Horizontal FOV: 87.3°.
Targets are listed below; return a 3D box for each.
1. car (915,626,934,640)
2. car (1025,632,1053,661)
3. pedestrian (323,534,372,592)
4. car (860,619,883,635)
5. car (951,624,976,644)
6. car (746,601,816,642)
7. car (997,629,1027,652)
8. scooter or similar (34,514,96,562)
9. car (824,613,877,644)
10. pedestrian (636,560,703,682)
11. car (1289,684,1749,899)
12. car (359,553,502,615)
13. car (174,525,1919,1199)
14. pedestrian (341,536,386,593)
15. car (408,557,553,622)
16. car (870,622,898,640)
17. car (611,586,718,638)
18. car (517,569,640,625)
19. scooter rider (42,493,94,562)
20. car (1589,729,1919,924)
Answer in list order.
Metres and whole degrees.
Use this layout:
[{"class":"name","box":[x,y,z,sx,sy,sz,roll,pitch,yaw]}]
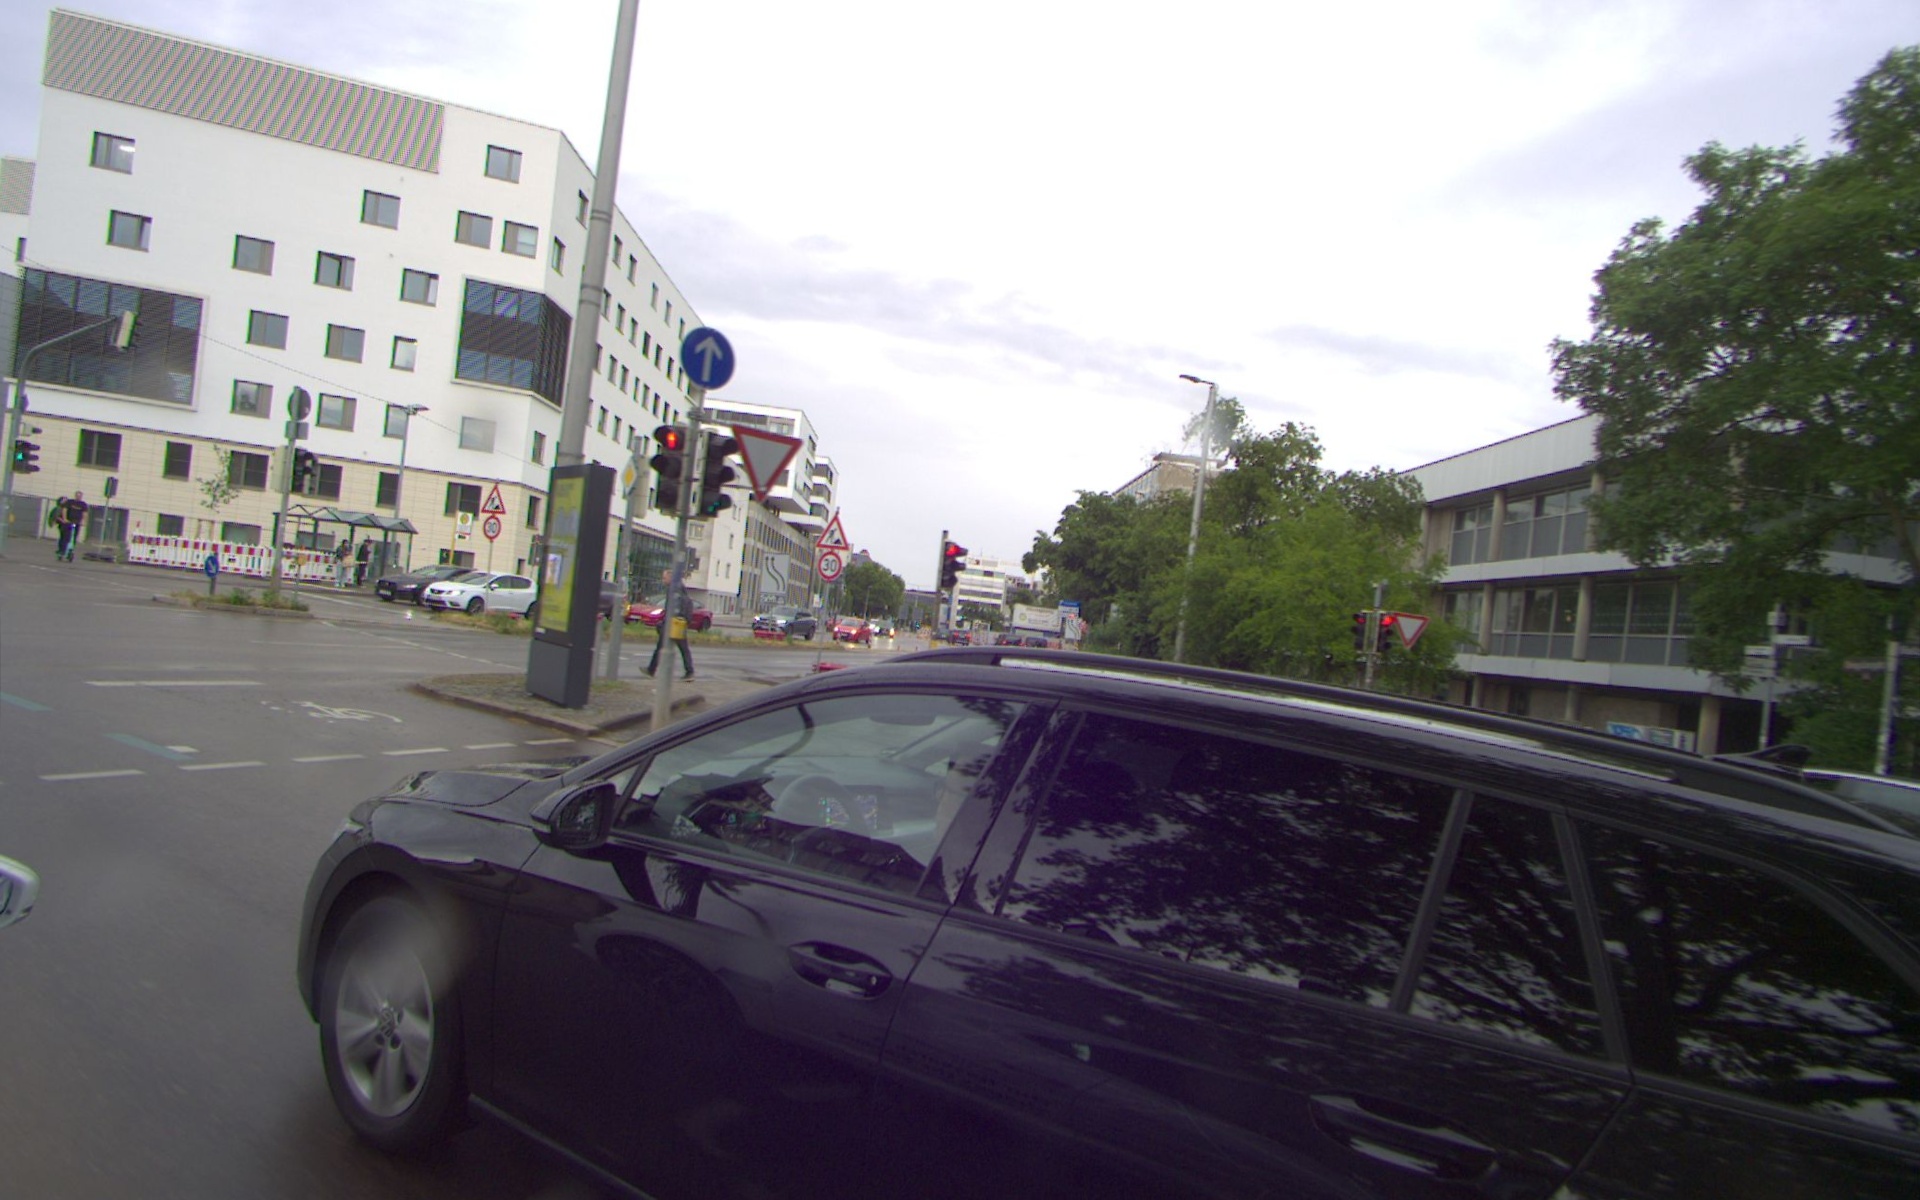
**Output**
[{"class":"car","box":[-4.865,4.493,136.570,1.837,1.669,4.774,7,-3,-9]},{"class":"car","box":[5.864,3.453,75.217,1.764,1.930,4.312,8,-1,4]},{"class":"pedestrian","box":[-21.504,-1.299,35.330,0.808,1.860,0.955,6,-2,21]},{"class":"car","box":[-9.334,2.874,106.282,1.934,1.466,4.156,8,-3,-9]},{"class":"car","box":[0.362,3.450,103.753,1.767,1.726,4.684,8,-1,-7]},{"class":"car","box":[-9.064,1.127,51.233,1.929,1.554,4.167,7,-3,12]},{"class":"car","box":[4.877,3.818,94.851,1.965,1.829,4.786,8,-2,-5]},{"class":"scooter or similar","box":[-26.701,-1.844,30.013,1.288,1.252,0.594,6,-2,11]},{"class":"car","box":[-6.824,1.816,63.154,1.929,1.465,4.167,7,-3,12]},{"class":"pedestrian","box":[-4.892,0.363,17.031,0.817,1.913,1.026,7,-2,-13]},{"class":"car","box":[5.949,1.982,11.199,1.849,1.467,3.968,9,-2,-31]},{"class":"car","box":[-17.614,-0.473,33.688,1.764,1.459,4.006,7,-3,17]},{"class":"car","box":[0.009,0.824,2.603,4.437,1.483,1.673,7,-1,32]},{"class":"pedestrian","box":[-22.355,-1.322,37.715,0.941,1.957,1.001,5,-3,42]},{"class":"car","box":[-15.092,-0.289,31.928,1.764,1.459,4.006,7,-3,17]},{"class":"car","box":[-7.264,2.921,95.568,1.935,1.466,4.153,8,-3,-12]},{"class":"car","box":[-12.005,0.537,41.247,1.930,1.574,4.536,7,-3,16]},{"class":"car","box":[-15.264,-0.072,40.524,1.964,1.683,4.389,7,-2,23]},{"class":"scooter rider","box":[-26.618,-2.156,30.023,0.619,1.904,0.727,6,-2,12]},{"class":"car","box":[9.821,2.548,11.149,1.853,1.466,4.361,9,-2,-36]}]
